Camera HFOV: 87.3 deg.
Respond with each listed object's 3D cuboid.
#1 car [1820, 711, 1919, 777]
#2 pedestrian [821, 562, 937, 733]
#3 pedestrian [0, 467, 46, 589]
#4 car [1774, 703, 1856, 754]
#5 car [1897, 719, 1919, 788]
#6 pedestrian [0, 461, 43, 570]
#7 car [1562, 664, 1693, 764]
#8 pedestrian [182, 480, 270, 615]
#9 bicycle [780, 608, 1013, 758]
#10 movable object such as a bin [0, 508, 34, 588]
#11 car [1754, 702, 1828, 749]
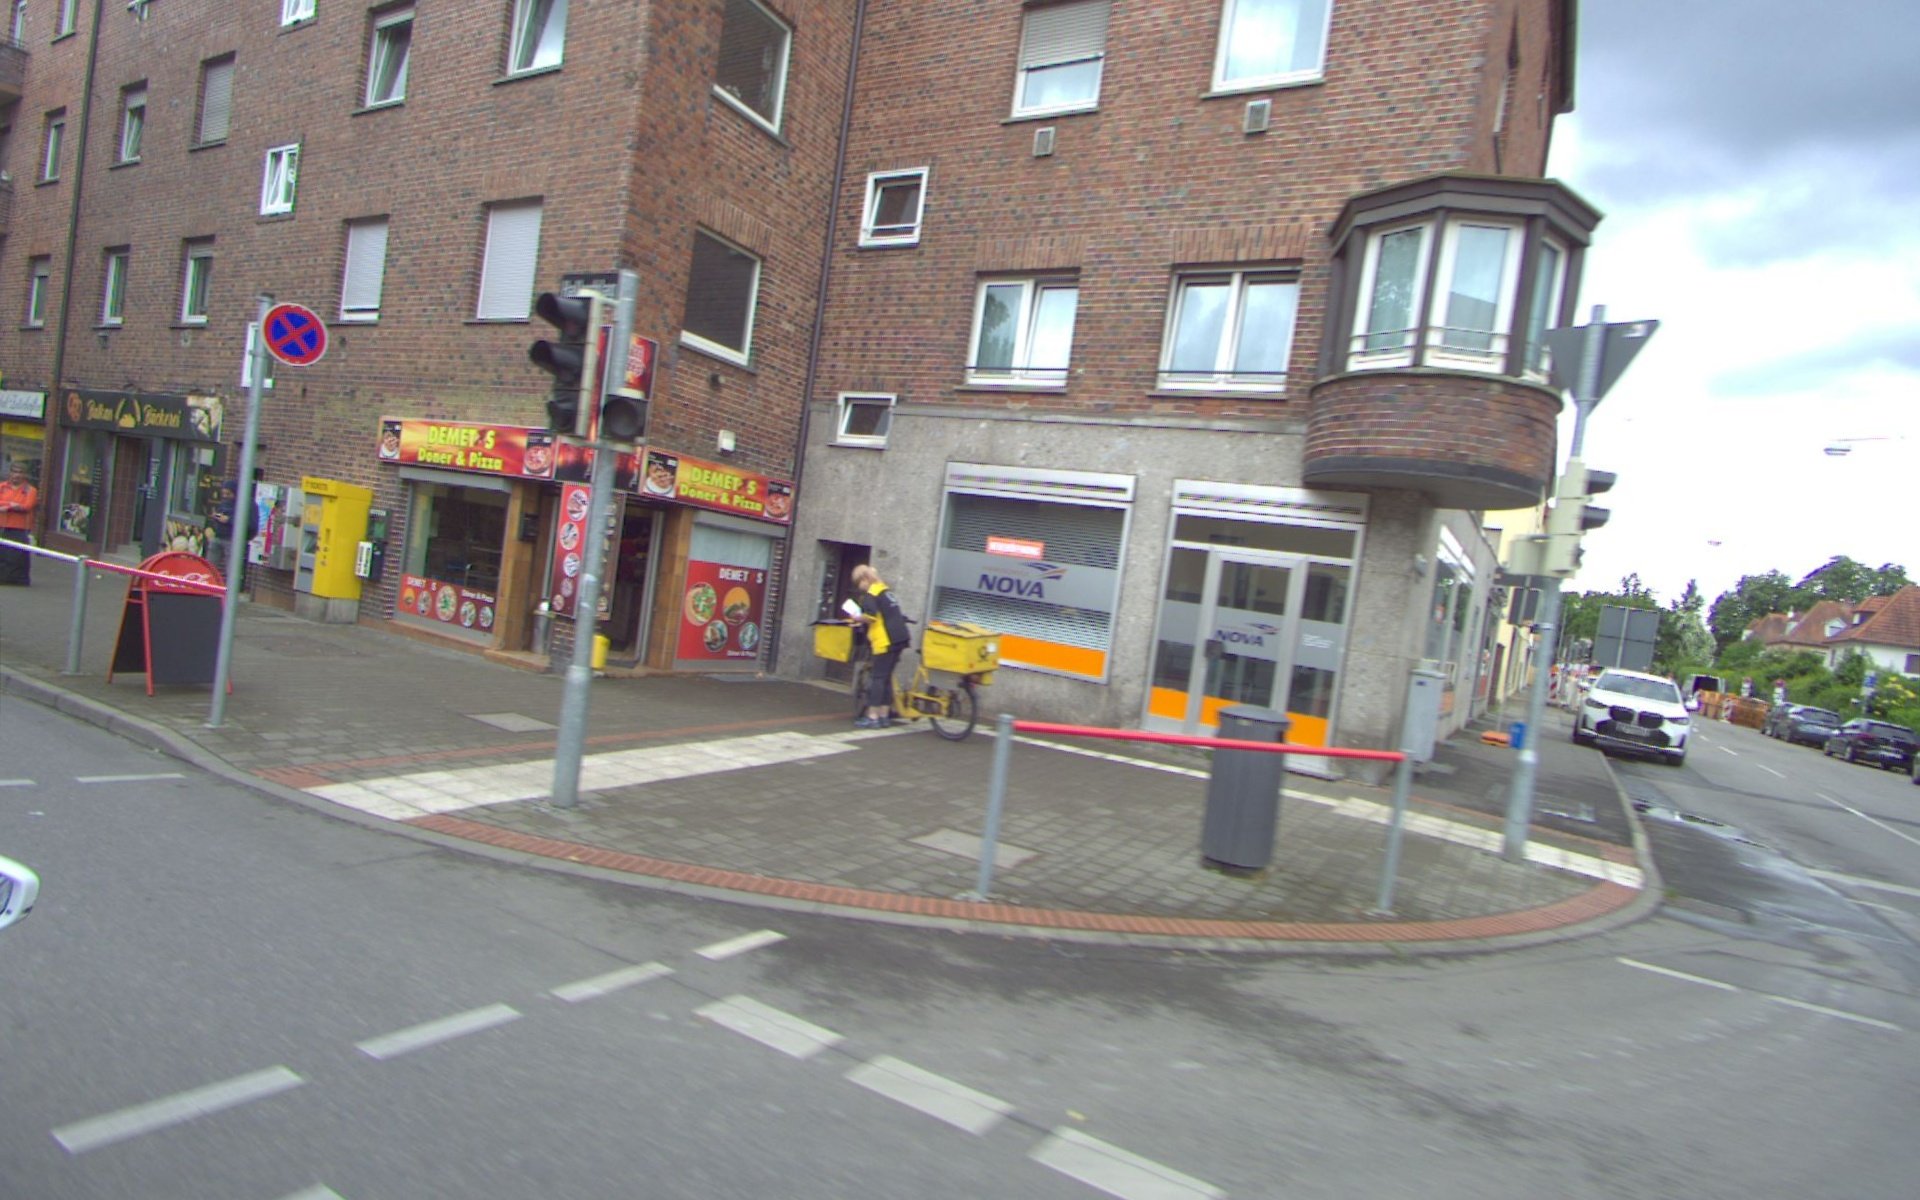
[{"bbox_3d":[28.789,4.488,31.741,1.738,1.537,3.789,12,2,32],"label":"car"},{"bbox_3d":[-0.854,0.487,10.664,0.759,1.678,0.788,7,3,32],"label":"pedestrian"},{"bbox_3d":[-13.506,-1.034,14.314,0.562,1.657,0.673,6,1,-39],"label":"pedestrian"},{"bbox_3d":[33.811,5.038,39.877,1.738,1.537,3.789,12,2,32],"label":"car"},{"bbox_3d":[24.029,3.872,23.708,1.814,1.667,4.252,12,2,32],"label":"car"},{"bbox_3d":[-16.285,-1.451,17.329,0.450,1.787,0.480,7,1,31],"label":"pedestrian"},{"bbox_3d":[14.092,2.321,21.288,1.957,1.631,4.521,7,0,34],"label":"car"},{"bbox_3d":[-10.258,-0.735,14.059,0.766,1.771,0.647,7,1,37],"label":"pedestrian"},{"bbox_3d":[-0.714,0.842,10.711,2.352,1.208,0.761,7,0,31],"label":"bicycle"},{"bbox_3d":[-13.326,-0.739,14.070,0.451,1.069,0.406,6,1,-39],"label":"movable object such as a bin"},{"bbox_3d":[35.794,5.364,43.415,1.738,1.537,3.789,12,2,32],"label":"car"}]
